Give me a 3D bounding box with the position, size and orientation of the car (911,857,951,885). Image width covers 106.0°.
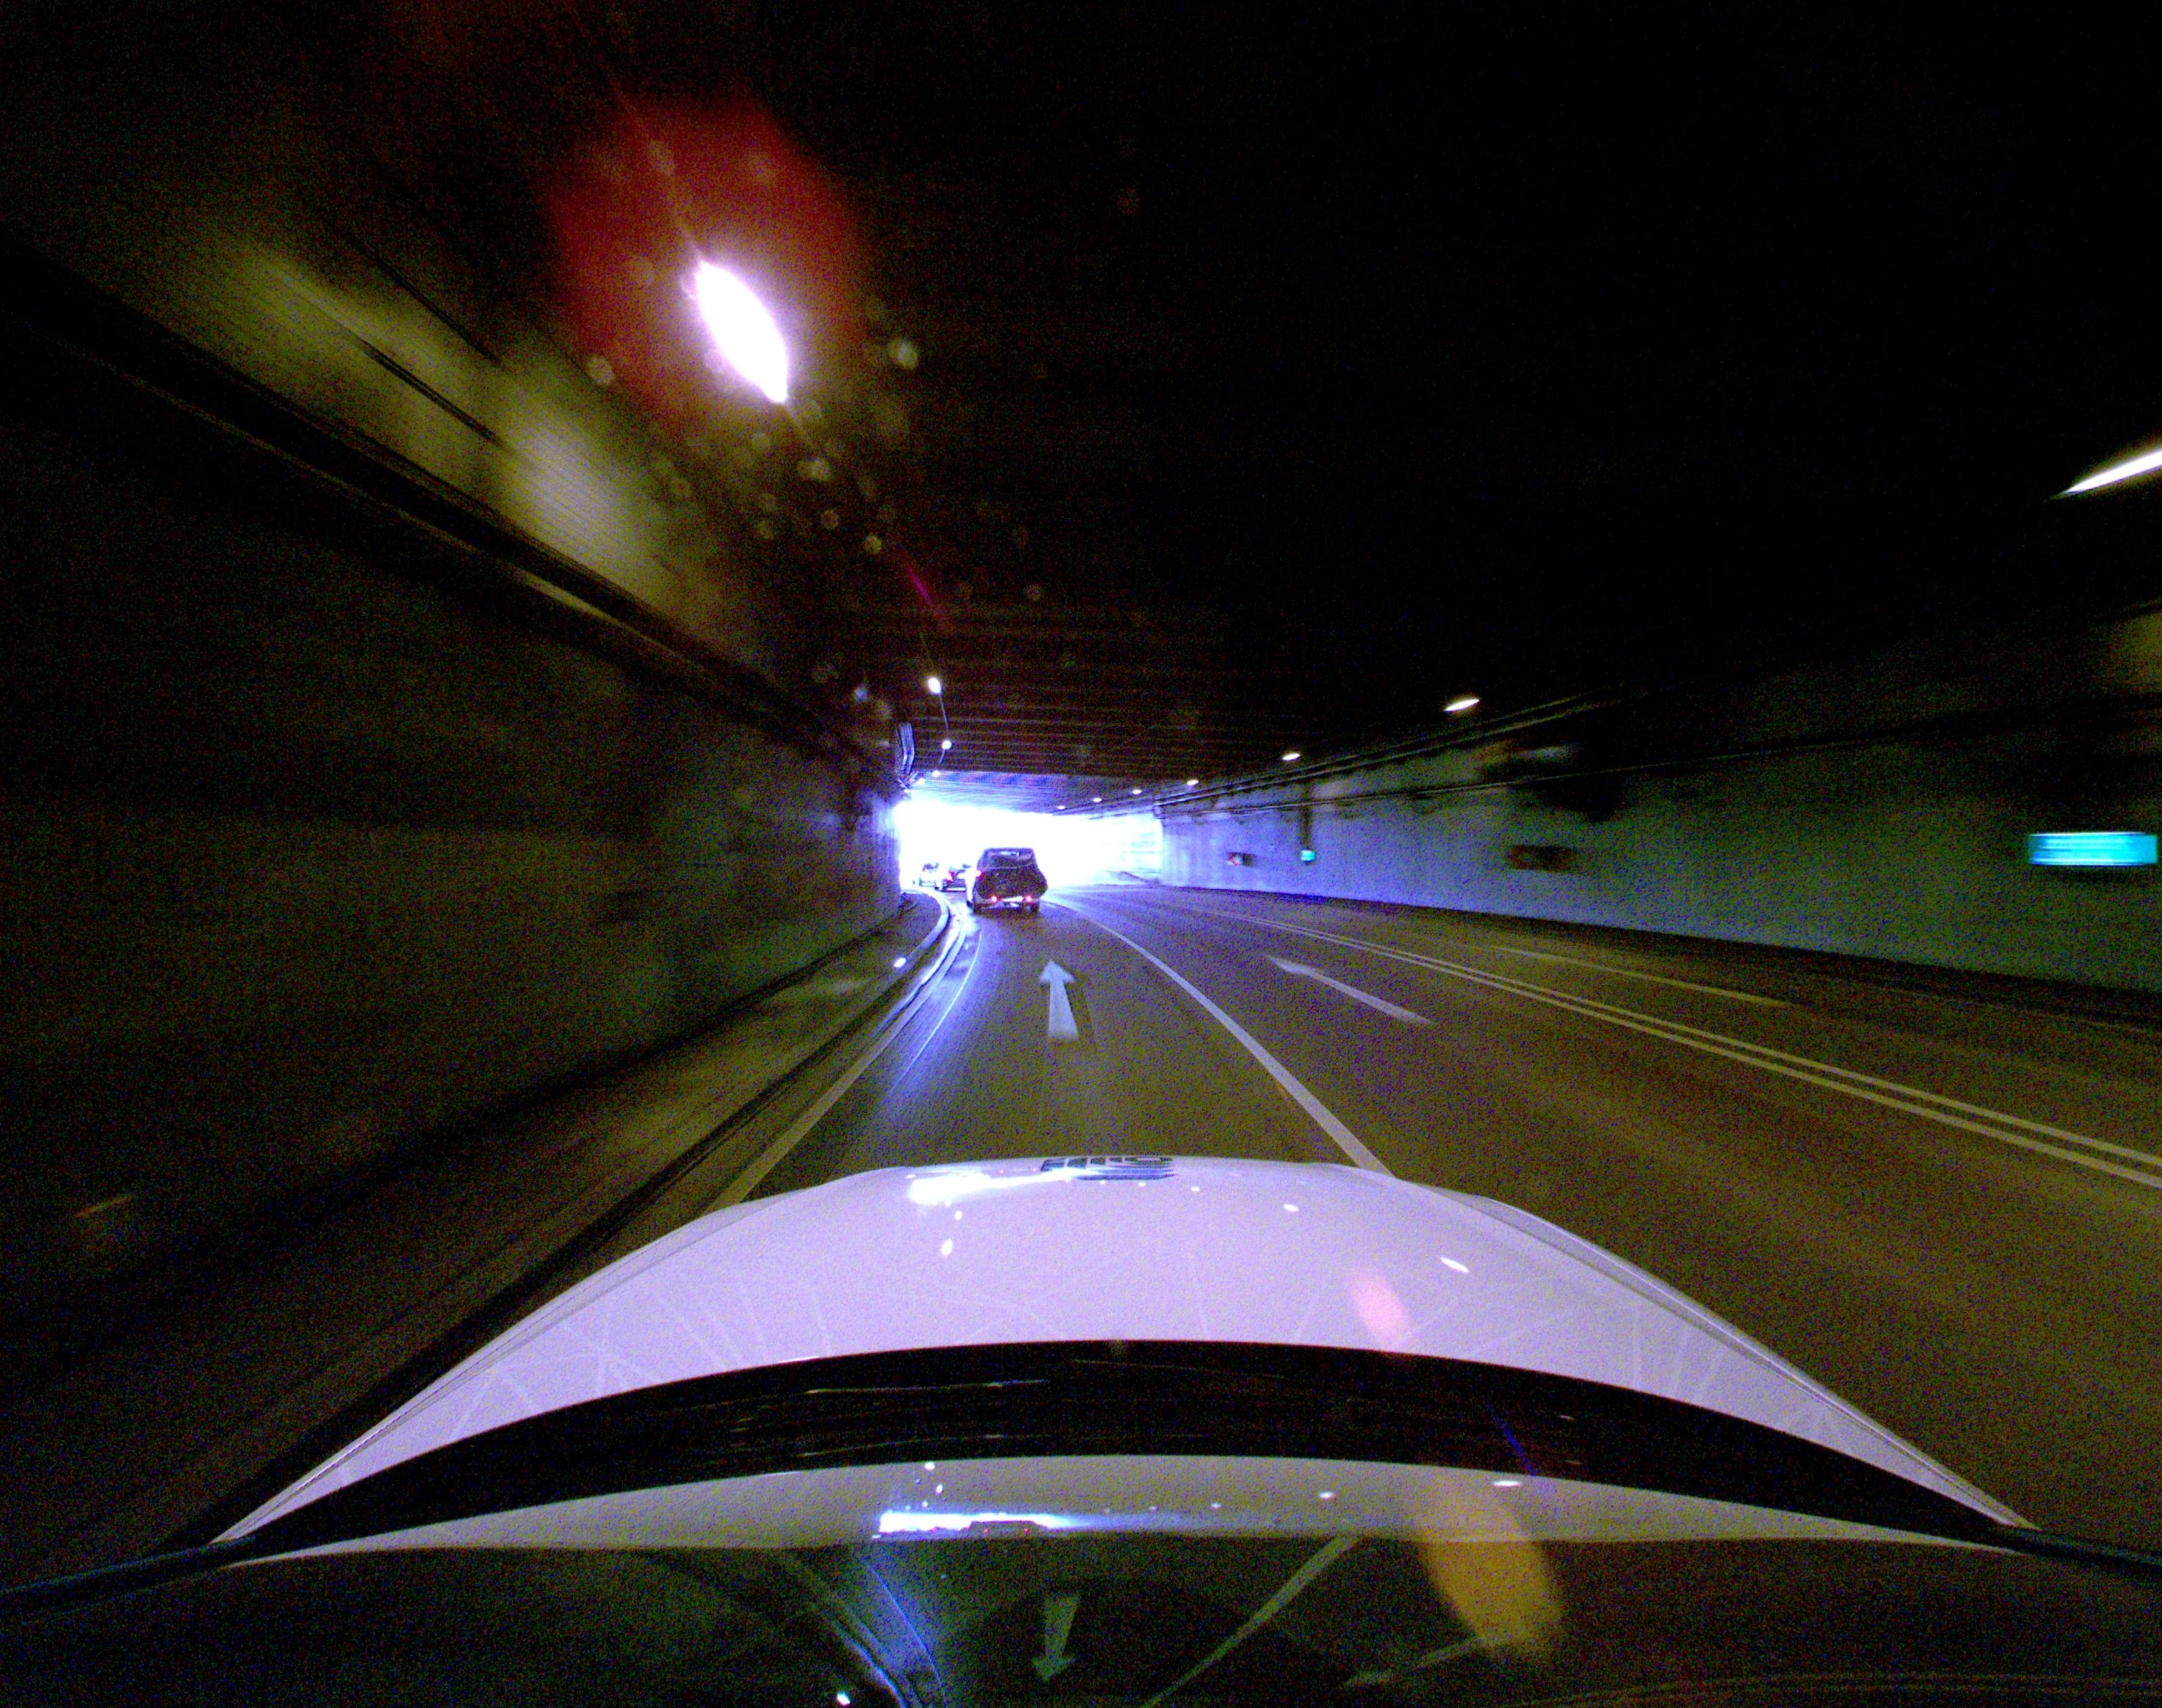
[{"bbox_3d":[-8.929,0.971,48.230,1.925,1.489,4.043,2,0,-16],"label":"car"}]

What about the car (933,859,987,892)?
[{"bbox_3d":[-5.726,0.955,38.126,1.820,1.434,4.040,0,-1,-18],"label":"car"}]

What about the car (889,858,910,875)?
[{"bbox_3d":[-19.522,1.332,87.362,1.997,1.664,3.979,1,0,-16],"label":"car"}]

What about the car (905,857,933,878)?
[{"bbox_3d":[-13.856,1.137,69.549,1.997,1.664,3.979,1,0,-16],"label":"car"}]

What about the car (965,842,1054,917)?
[{"bbox_3d":[-2.229,0.667,23.789,1.994,1.859,5.620,-2,0,-11],"label":"car"}]
